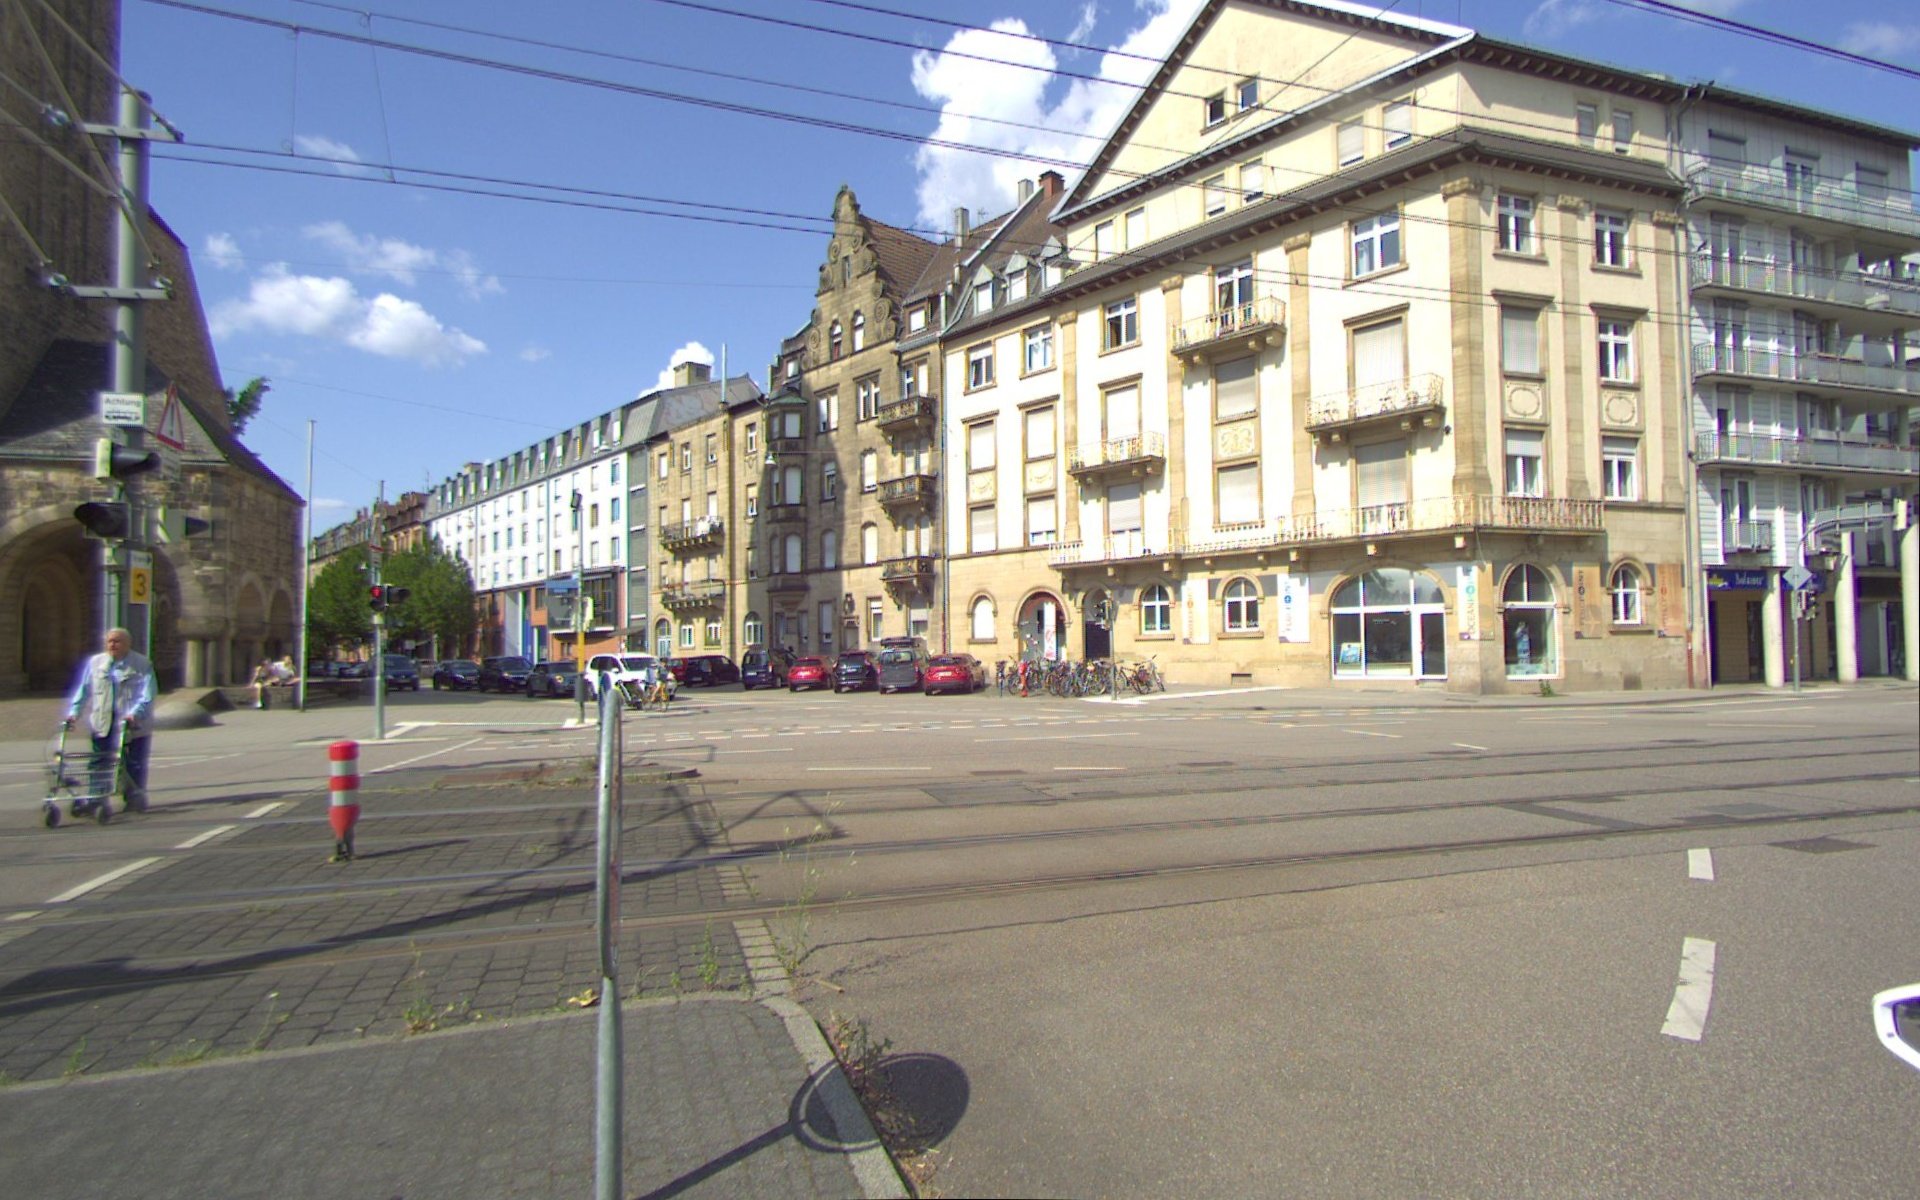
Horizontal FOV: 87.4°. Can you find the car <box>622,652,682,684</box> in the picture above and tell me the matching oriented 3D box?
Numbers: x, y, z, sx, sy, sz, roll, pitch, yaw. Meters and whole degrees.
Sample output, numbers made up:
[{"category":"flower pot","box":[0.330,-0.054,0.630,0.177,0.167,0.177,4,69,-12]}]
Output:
[{"category":"car","box":[-16.987,3.731,55.537,1.574,1.520,3.778,-2,-1,10]}]

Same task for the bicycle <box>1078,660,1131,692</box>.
[{"category":"bicycle","box":[5.012,2.637,34.974,0.536,1.032,1.907,-2,-1,-40]}]

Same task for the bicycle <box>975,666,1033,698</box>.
[{"category":"bicycle","box":[1.473,2.776,34.032,1.895,1.032,0.539,-3,-1,30]}]

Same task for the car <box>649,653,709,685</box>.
[{"category":"car","box":[-14.952,3.653,53.552,1.574,1.475,3.778,-2,-1,10]}]

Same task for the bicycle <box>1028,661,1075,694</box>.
[{"category":"bicycle","box":[3.289,2.762,36.004,1.916,1.032,0.533,-2,-1,-45]}]

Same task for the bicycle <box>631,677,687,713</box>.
[{"category":"bicycle","box":[-9.067,2.835,30.229,2.104,1.002,0.649,-3,-4,42]}]

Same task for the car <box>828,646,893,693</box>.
[{"category":"car","box":[-4.128,2.865,42.217,1.676,1.690,4.003,-2,-1,10]}]

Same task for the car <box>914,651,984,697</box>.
[{"category":"car","box":[-0.348,2.757,37.908,1.928,1.460,4.003,-2,-1,10]}]

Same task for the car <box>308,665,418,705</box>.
[{"category":"car","box":[-26.566,3.775,44.765,3.892,1.673,2.034,-2,-3,13]}]

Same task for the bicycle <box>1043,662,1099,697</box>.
[{"category":"bicycle","box":[3.738,2.665,33.903,1.906,1.032,0.536,-2,-1,-31]}]

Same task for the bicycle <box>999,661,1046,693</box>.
[{"category":"bicycle","box":[2.296,2.797,36.612,1.916,1.032,0.533,-2,-1,-45]}]

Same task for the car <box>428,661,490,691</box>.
[{"category":"car","box":[-25.048,3.776,50.204,1.692,1.408,3.812,2,-4,-44]}]

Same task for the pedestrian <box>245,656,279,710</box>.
[{"category":"pedestrian","box":[-19.422,2.301,27.957,0.508,1.425,0.558,4,2,25]}]

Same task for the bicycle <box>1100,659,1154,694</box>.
[{"category":"bicycle","box":[5.573,2.548,33.468,1.858,1.032,0.604,-1,-1,-35]}]

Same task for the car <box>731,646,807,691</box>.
[{"category":"car","box":[-8.921,3.190,47.299,1.878,1.849,4.002,-3,-1,15]}]

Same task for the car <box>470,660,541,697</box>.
[{"category":"car","box":[-20.889,3.563,46.079,1.692,1.617,4.019,2,-4,-44]}]

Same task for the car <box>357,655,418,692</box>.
[{"category":"car","box":[-28.895,3.673,50.687,1.802,1.686,4.021,1,-2,-43]}]

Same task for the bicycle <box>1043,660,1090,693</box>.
[{"category":"bicycle","box":[3.776,2.693,35.528,1.916,1.032,0.533,-2,-1,-45]}]

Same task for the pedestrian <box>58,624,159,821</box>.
[{"category":"pedestrian","box":[-7.907,1.107,9.348,0.549,1.755,0.525,0,-3,-24]}]

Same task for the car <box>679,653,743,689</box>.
[{"category":"car","box":[-12.689,3.584,51.442,1.676,1.566,4.003,-2,-1,10]}]

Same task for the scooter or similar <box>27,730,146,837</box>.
[{"category":"scooter or similar","box":[-7.738,1.609,8.937,0.546,0.814,0.836,0,-3,-23]}]

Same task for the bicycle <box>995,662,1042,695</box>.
[{"category":"bicycle","box":[2.088,2.763,35.545,0.532,1.032,1.918,-3,-1,41]}]

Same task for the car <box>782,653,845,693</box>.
[{"category":"car","box":[-6.484,3.221,44.806,1.878,1.463,4.002,-2,-1,5]}]

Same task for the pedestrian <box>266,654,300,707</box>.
[{"category":"pedestrian","box":[-19.189,2.282,28.475,0.508,1.425,0.558,4,2,25]}]

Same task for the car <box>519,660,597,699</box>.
[{"category":"car","box":[-16.297,3.190,40.671,1.664,1.469,3.688,2,-4,-44]}]

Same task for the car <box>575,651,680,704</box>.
[{"category":"car","box":[-12.070,2.765,36.331,1.803,1.762,4.603,2,-4,-44]}]

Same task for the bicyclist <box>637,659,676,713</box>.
[{"category":"bicyclist","box":[-9.167,2.583,30.328,0.909,1.523,0.648,-3,1,43]}]

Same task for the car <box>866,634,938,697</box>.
[{"category":"car","box":[-2.260,2.581,40.367,1.928,2.110,4.002,-2,1,10]}]

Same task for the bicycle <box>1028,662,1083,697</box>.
[{"category":"bicycle","box":[3.267,2.700,34.266,1.906,1.032,0.536,-2,-1,-31]}]

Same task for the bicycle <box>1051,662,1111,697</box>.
[{"category":"bicycle","box":[3.993,2.620,33.163,1.847,1.032,0.600,-2,-1,-18]}]

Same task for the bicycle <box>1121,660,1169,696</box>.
[{"category":"bicycle","box":[6.055,2.536,32.853,0.601,1.032,1.866,-3,-2,43]}]

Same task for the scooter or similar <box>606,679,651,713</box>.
[{"category":"scooter or similar","box":[-10.339,2.991,31.342,1.115,0.989,0.886,-3,-4,42]}]
